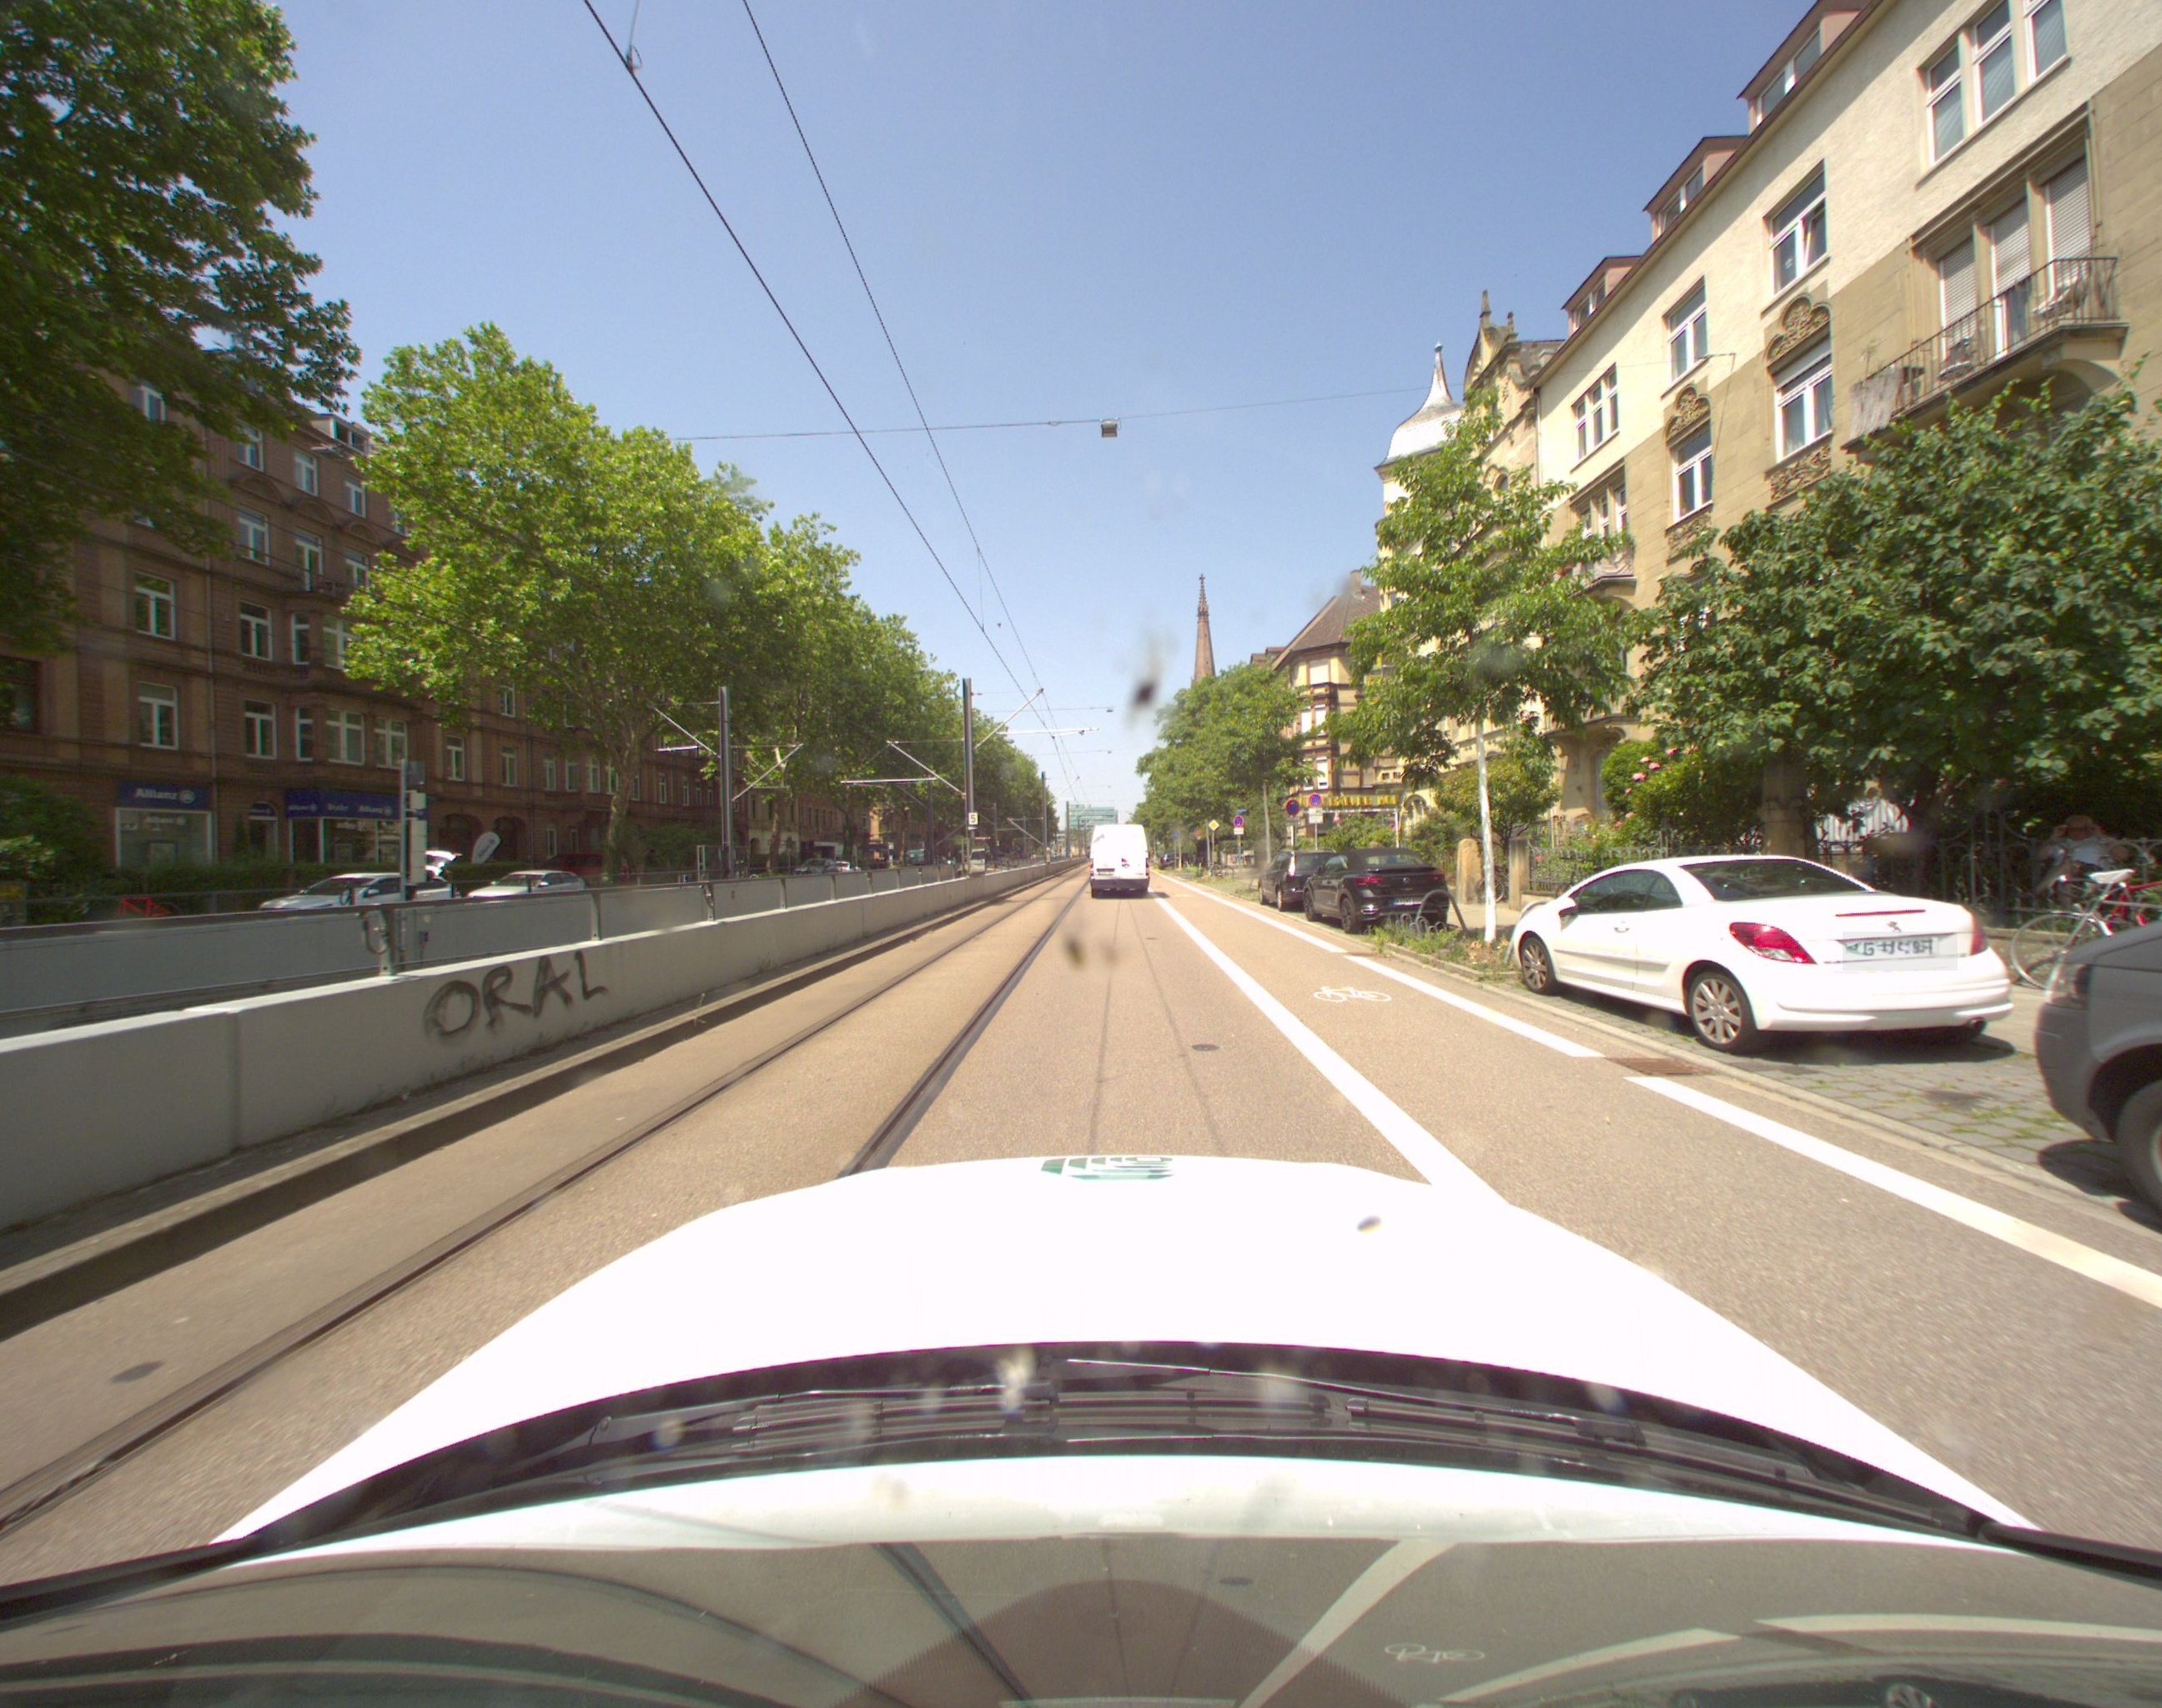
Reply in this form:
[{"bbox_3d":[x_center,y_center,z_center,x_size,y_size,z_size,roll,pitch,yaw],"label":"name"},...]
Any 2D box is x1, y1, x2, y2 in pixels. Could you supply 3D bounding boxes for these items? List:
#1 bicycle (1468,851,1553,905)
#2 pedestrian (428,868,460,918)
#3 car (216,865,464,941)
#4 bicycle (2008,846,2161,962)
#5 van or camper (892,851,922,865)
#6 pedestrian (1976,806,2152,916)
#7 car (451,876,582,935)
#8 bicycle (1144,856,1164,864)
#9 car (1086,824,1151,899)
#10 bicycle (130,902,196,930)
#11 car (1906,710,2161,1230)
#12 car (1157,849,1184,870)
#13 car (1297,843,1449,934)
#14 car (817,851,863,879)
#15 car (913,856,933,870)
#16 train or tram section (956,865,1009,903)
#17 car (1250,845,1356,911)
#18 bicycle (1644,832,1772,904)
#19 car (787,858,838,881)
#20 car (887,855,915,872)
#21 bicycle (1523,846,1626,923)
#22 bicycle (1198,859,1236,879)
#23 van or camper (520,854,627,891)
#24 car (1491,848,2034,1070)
[{"bbox_3d":[9.943,0.554,18.879,1.683,1.076,0.343,-6,0,1],"label":"bicycle"},{"bbox_3d":[-18.829,1.146,24.077,0.735,1.426,0.509,-1,0,-39],"label":"pedestrian"},{"bbox_3d":[-18.729,1.159,20.979,1.986,1.625,4.719,-1,0,1],"label":"car"},{"bbox_3d":[8.483,0.384,6.450,0.438,0.880,1.636,-1,0,2],"label":"bicycle"},{"bbox_3d":[-25.665,0.611,120.186,3.974,2.013,2.000,-1,0,-1],"label":"van or camper"},{"bbox_3d":[10.102,0.073,8.406,0.861,1.070,0.762,-1,0,5],"label":"pedestrian"},{"bbox_3d":[-18.476,1.620,26.880,1.648,1.684,3.708,-1,0,1],"label":"car"},{"bbox_3d":[8.202,0.665,91.134,1.548,0.826,4.016,-1,0,15],"label":"bicycle"},{"bbox_3d":[1.334,0.234,29.668,2.109,2.459,5.056,-1,0,2],"label":"car"},{"bbox_3d":[-25.039,1.687,22.232,0.279,0.650,1.344,-1,0,0],"label":"bicycle"},{"bbox_3d":[4.893,0.402,1.515,1.871,1.947,4.839,-3,0,2],"label":"car"},{"bbox_3d":[7.736,0.459,70.843,2.147,1.670,4.005,-1,0,4],"label":"car"},{"bbox_3d":[5.580,0.595,16.064,1.660,1.530,4.015,-2,0,2],"label":"car"},{"bbox_3d":[-17.281,0.748,58.566,1.986,1.904,4.149,-1,0,1],"label":"car"},{"bbox_3d":[-16.410,0.922,84.683,1.368,1.424,3.090,-2,0,3],"label":"car"},{"bbox_3d":[-7.359,2.192,61.924,2.719,2.508,8.518,-1,0,1],"label":"train or tram section"},{"bbox_3d":[5.748,0.572,21.622,1.723,1.536,4.406,-1,0,2],"label":"car"},{"bbox_3d":[12.849,0.254,16.820,0.562,1.332,2.691,-2,0,1],"label":"bicycle"},{"bbox_3d":[-17.425,0.985,53.073,1.845,1.401,4.198,-1,0,1],"label":"car"},{"bbox_3d":[-16.991,0.884,76.984,1.586,1.448,4.002,-1,0,2],"label":"car"},{"bbox_3d":[8.672,0.501,14.422,0.590,1.262,2.093,-1,0,2],"label":"bicycle"},{"bbox_3d":[6.812,0.743,40.870,1.834,0.953,0.503,-2,0,3],"label":"bicycle"},{"bbox_3d":[-26.791,0.983,43.077,4.519,1.836,1.936,-1,0,7],"label":"van or camper"},{"bbox_3d":[5.439,0.677,7.302,1.605,1.406,4.002,-2,0,2],"label":"car"}]
